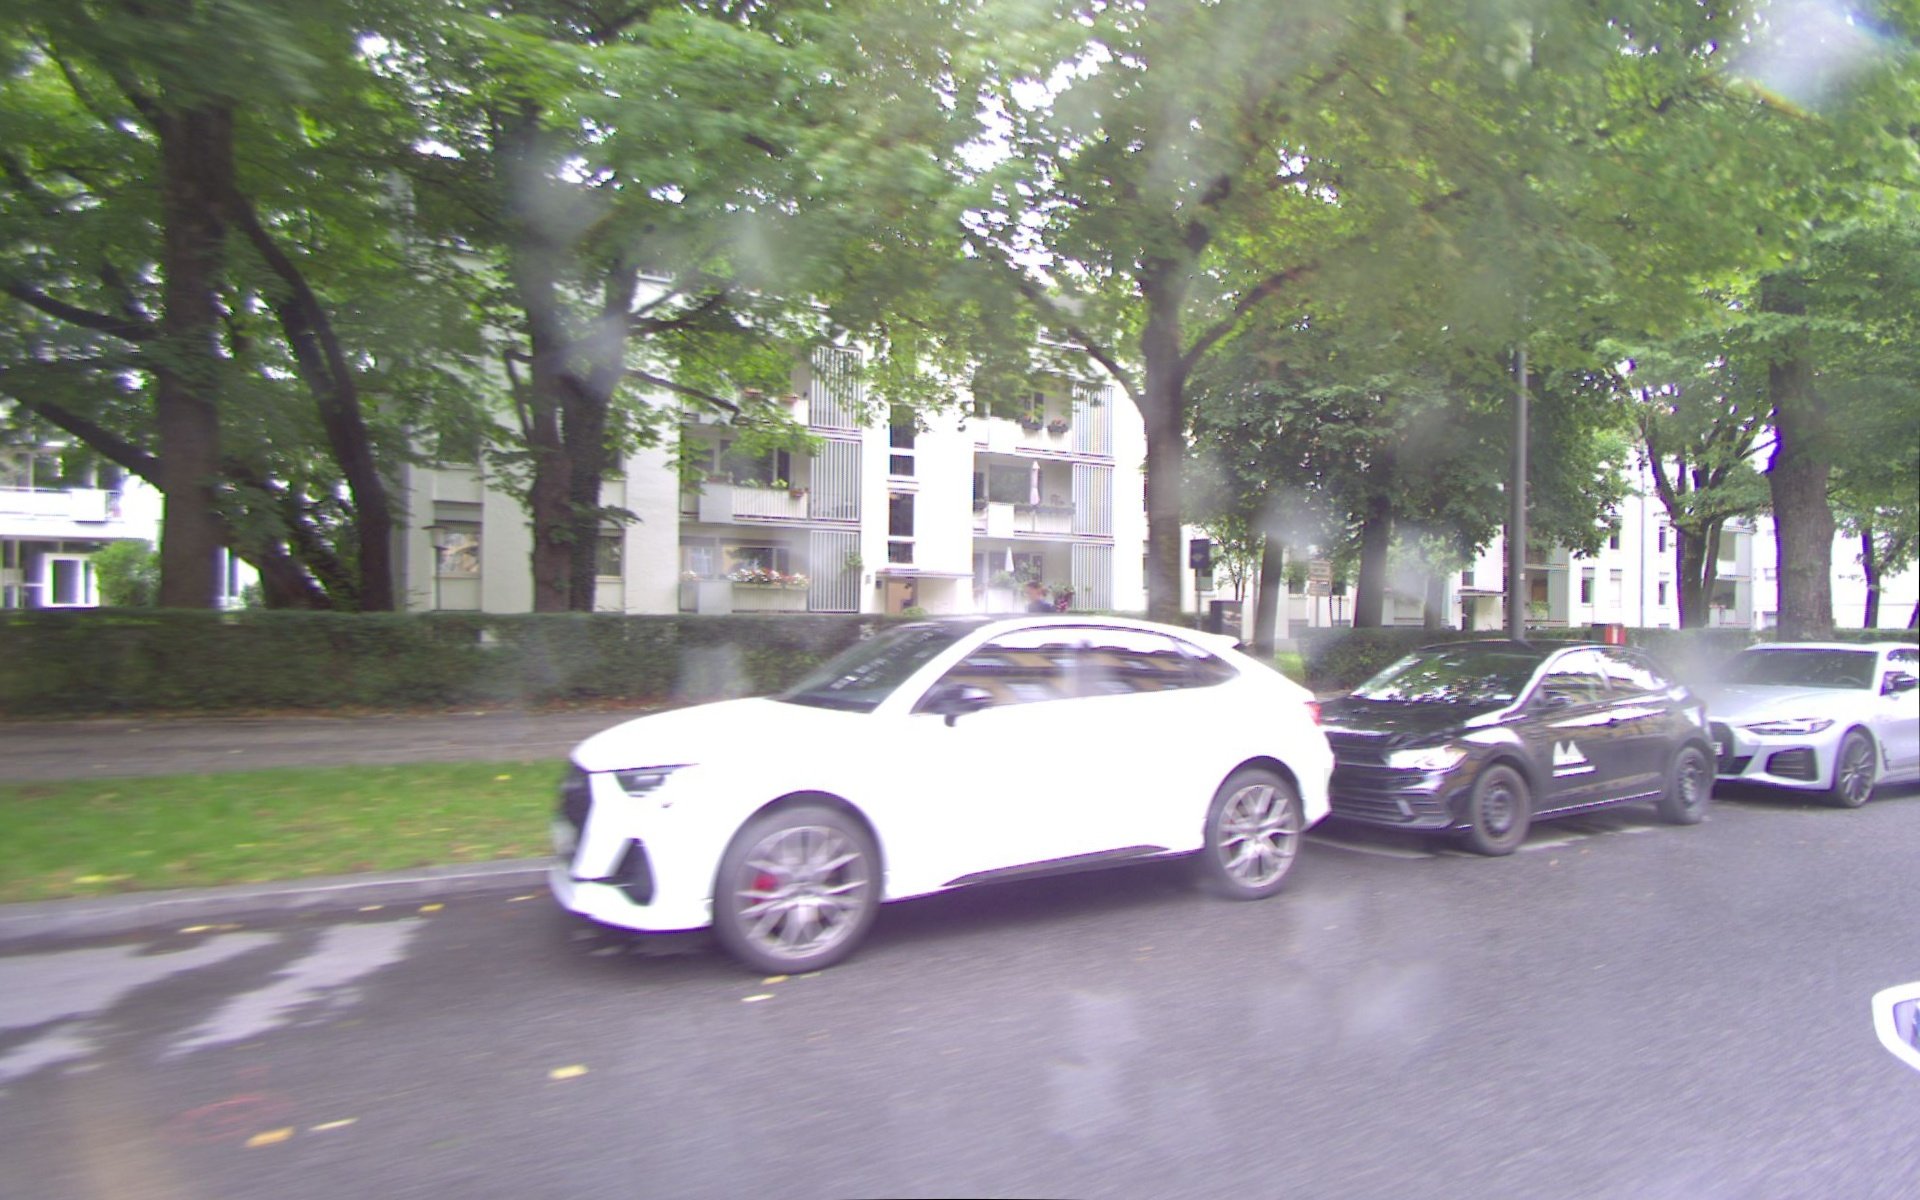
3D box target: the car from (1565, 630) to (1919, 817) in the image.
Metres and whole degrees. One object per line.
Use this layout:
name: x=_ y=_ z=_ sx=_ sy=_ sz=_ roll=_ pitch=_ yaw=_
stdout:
car: x=8.489 y=1.100 z=10.099 sx=4.933 sy=1.489 sz=1.803 roll=2 pitch=-1 yaw=-27

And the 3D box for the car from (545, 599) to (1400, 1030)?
car: x=0.203 y=0.883 z=5.663 sx=4.528 sy=1.618 sz=1.777 roll=2 pitch=-1 yaw=-29

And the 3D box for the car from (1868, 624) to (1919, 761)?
car: x=13.732 y=1.158 z=12.675 sx=4.461 sy=1.643 sz=1.761 roll=2 pitch=-4 yaw=-25

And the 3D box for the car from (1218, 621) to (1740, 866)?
car: x=4.139 y=0.956 z=7.890 sx=4.053 sy=1.489 sz=1.665 roll=2 pitch=-1 yaw=-28
